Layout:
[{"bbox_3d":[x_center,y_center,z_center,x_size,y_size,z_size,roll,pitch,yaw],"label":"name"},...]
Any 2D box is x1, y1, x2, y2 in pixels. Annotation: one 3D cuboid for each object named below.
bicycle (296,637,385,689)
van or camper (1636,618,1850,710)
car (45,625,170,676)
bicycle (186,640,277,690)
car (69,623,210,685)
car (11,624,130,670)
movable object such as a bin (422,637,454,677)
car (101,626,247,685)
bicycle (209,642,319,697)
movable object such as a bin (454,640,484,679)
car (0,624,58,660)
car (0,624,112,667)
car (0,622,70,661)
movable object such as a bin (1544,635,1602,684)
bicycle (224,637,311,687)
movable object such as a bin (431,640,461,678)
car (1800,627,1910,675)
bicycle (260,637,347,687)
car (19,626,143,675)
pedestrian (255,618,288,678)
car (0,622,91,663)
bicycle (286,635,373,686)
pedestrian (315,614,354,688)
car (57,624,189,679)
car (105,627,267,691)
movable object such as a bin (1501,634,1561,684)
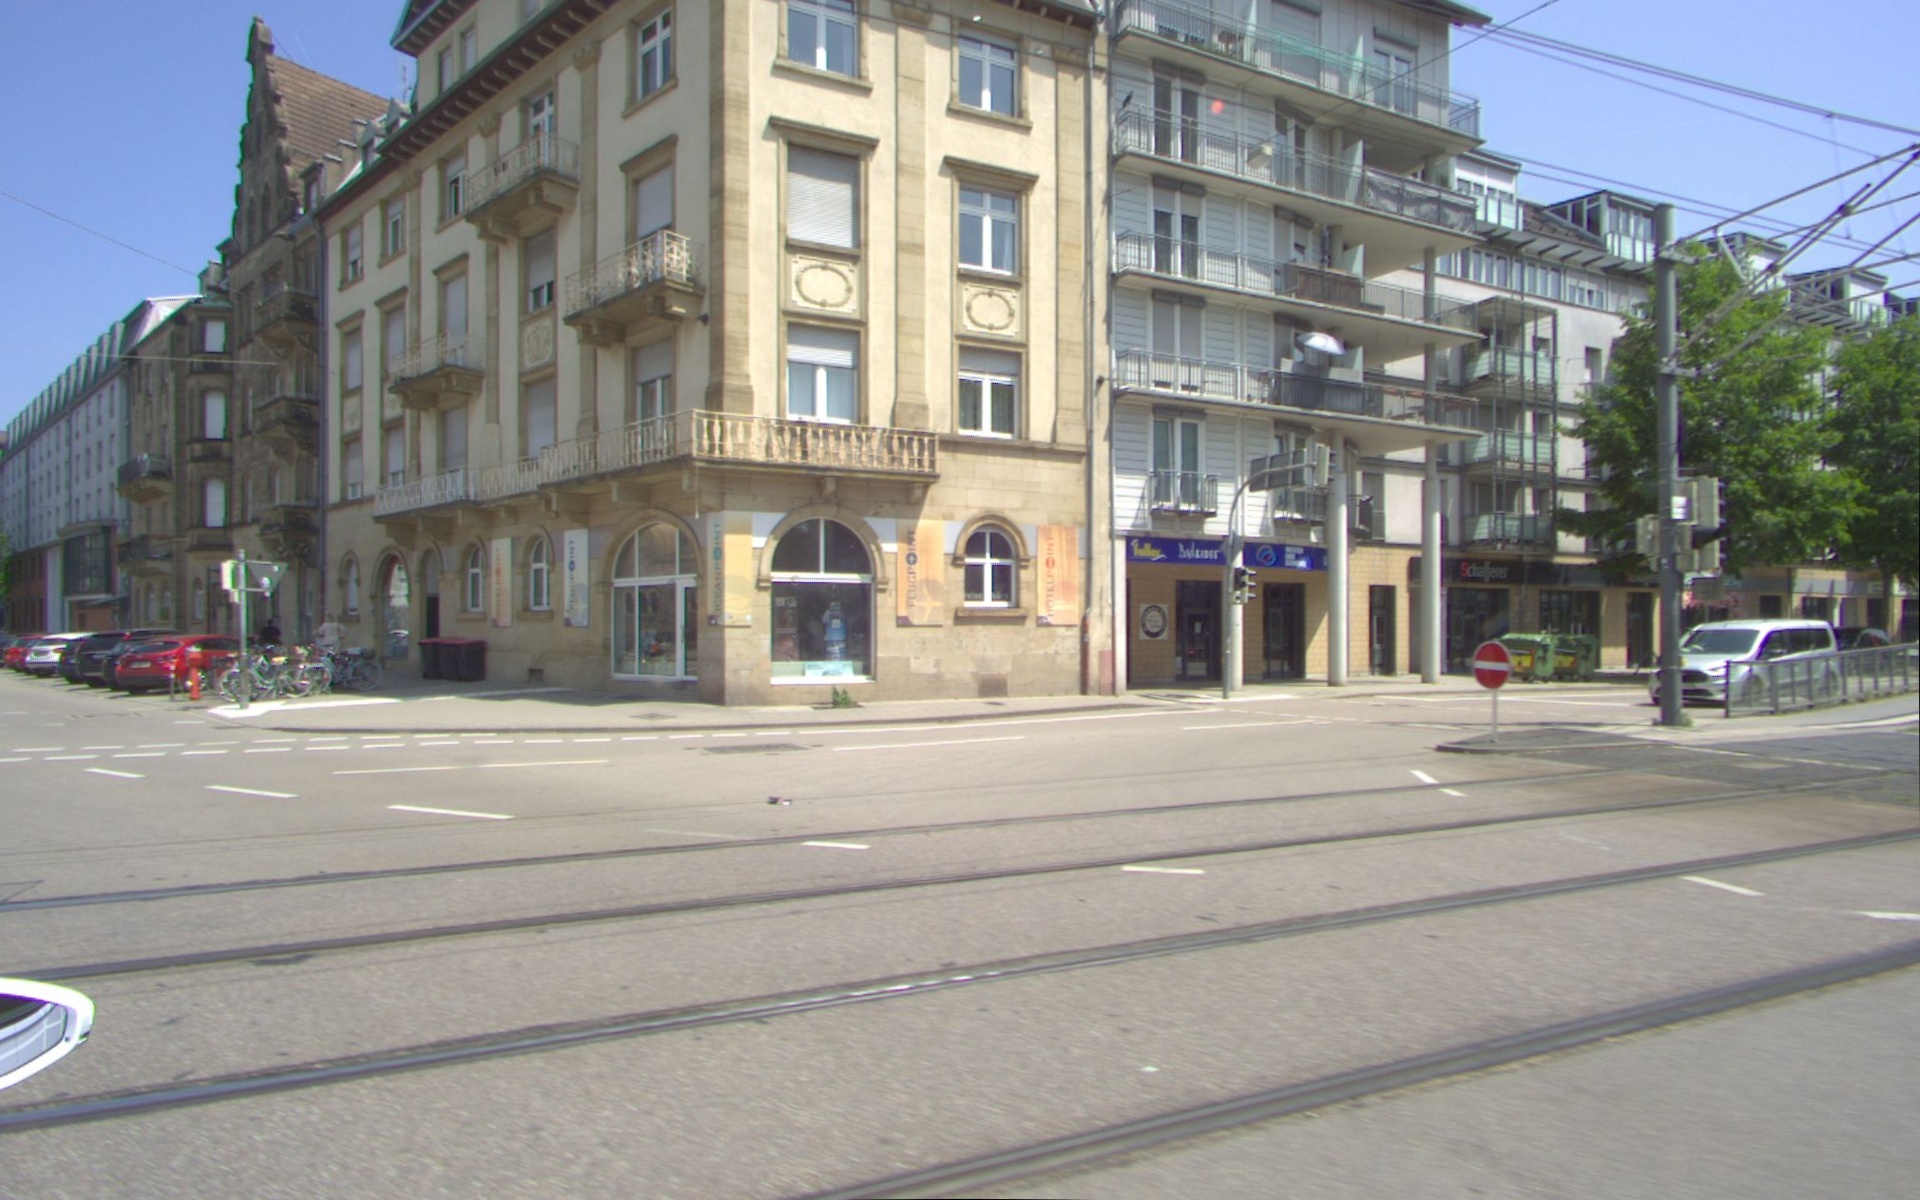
[{"bbox_3d":[-14.972,1.503,24.227,1.782,1.166,0.561,-1,0,-36],"label":"bicycle"},{"bbox_3d":[16.555,1.297,21.137,4.523,1.780,1.761,1,-2,-26],"label":"van or camper"},{"bbox_3d":[-30.144,1.742,35.530,1.585,1.596,3.226,-2,0,1],"label":"car"},{"bbox_3d":[-18.629,1.644,25.633,0.558,1.166,1.794,-1,-1,35],"label":"bicycle"},{"bbox_3d":[-25.042,1.619,30.696,1.585,1.687,3.226,-2,0,1],"label":"car"},{"bbox_3d":[-34.575,1.813,39.032,1.585,1.596,3.226,-2,0,5],"label":"car"},{"bbox_3d":[-14.264,1.557,27.358,0.663,1.078,0.585,1,-2,-41],"label":"movable object such as a bin"},{"bbox_3d":[-22.662,1.571,29.025,1.585,1.498,3.226,-2,0,1],"label":"car"},{"bbox_3d":[-15.841,1.564,22.847,2.035,1.166,0.561,1,-1,-36],"label":"bicycle"},{"bbox_3d":[-12.857,1.551,26.198,0.577,1.008,0.585,1,-2,-41],"label":"movable object such as a bin"},{"bbox_3d":[-43.953,1.946,46.338,1.585,1.596,3.226,-2,0,-5],"label":"car"},{"bbox_3d":[-36.723,1.816,40.660,1.585,1.596,3.226,-2,0,5],"label":"car"},{"bbox_3d":[-41.847,1.847,44.836,1.468,1.596,3.225,-2,0,-10],"label":"car"},{"bbox_3d":[18.984,1.825,31.010,0.994,1.454,1.208,0,-1,-31],"label":"movable object such as a bin"},{"bbox_3d":[-17.577,1.562,25.443,1.782,1.166,0.561,-1,0,-36],"label":"bicycle"},{"bbox_3d":[-13.752,1.569,26.791,0.577,1.008,0.585,1,-2,-41],"label":"movable object such as a bin"},{"bbox_3d":[34.957,1.951,39.107,3.941,1.794,1.991,1,-2,-29],"label":"car"},{"bbox_3d":[-16.529,1.549,25.230,1.782,1.166,0.561,-1,0,-36],"label":"bicycle"},{"bbox_3d":[-32.459,1.840,37.095,1.585,1.596,3.226,-2,0,4],"label":"car"},{"bbox_3d":[-23.832,1.645,34.657,0.857,2.039,1.092,1,-1,-39],"label":"pedestrian"},{"bbox_3d":[-39.665,1.806,43.218,1.585,1.596,3.226,-2,0,-3],"label":"car"},{"bbox_3d":[-15.639,1.487,24.844,1.782,1.166,0.561,-1,0,-36],"label":"bicycle"},{"bbox_3d":[-18.468,1.489,29.552,0.857,2.141,1.092,1,-1,-39],"label":"pedestrian"},{"bbox_3d":[-27.608,1.664,33.151,1.585,1.596,3.226,-2,0,1],"label":"car"},{"bbox_3d":[-20.642,1.531,26.858,1.586,1.498,3.226,-2,0,6],"label":"car"},{"bbox_3d":[17.088,1.762,29.990,0.992,1.454,1.211,0,-1,-22],"label":"movable object such as a bin"}]
